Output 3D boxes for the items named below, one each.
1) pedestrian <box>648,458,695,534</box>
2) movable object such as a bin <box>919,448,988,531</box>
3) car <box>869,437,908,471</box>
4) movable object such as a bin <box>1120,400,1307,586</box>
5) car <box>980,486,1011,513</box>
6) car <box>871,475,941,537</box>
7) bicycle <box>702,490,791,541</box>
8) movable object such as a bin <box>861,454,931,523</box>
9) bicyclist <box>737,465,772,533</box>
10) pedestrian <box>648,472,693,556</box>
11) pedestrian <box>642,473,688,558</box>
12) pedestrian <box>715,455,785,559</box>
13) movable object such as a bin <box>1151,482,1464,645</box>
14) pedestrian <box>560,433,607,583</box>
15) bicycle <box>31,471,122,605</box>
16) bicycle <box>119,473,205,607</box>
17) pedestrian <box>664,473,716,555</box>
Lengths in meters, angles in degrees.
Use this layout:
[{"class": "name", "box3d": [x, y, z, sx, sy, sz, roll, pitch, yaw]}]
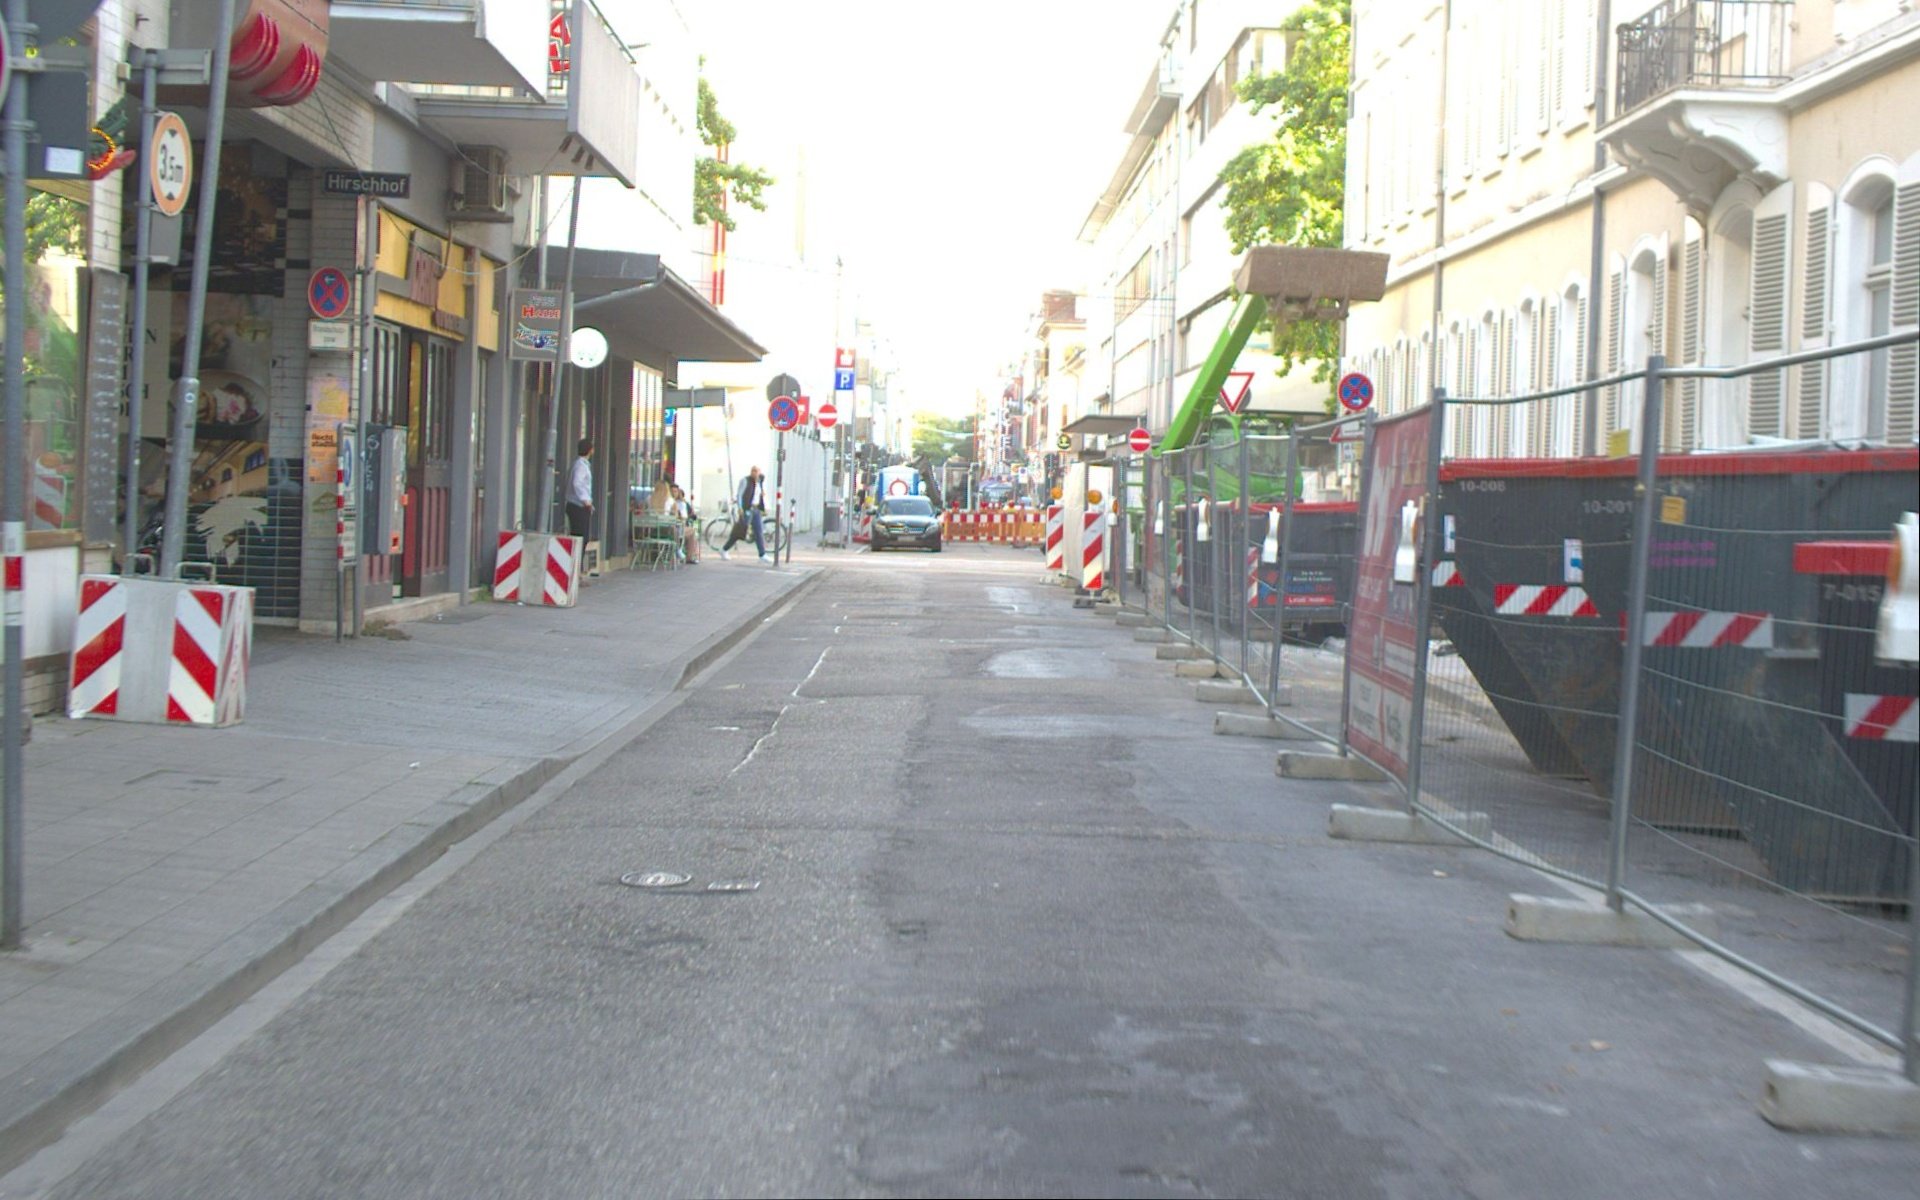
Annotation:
[{"class": "pedestrian", "box3d": [-4.986, -1.801, 59.415, 0.711, 1.271, 0.704, 2, 2, 0]}, {"class": "movable object such as a bin", "box3d": [-0.235, -3.676, 114.452, 2.156, 2.654, 4.573, 2, 2, -1]}, {"class": "car", "box3d": [-3.795, -7.804, 183.965, 1.993, 1.770, 4.001, 1, 2, 0]}, {"class": "movable object such as a bin", "box3d": [4.007, -1.731, 55.211, 2.605, 2.829, 4.450, 1, 2, 0]}, {"class": "car", "box3d": [2.361, -6.693, 228.450, 1.993, 1.770, 4.001, 1, 2, 0]}, {"class": "car", "box3d": [-1.421, -2.442, 89.072, 1.629, 1.545, 3.143, 1, 2, -4]}, {"class": "bicycle", "box3d": [-4.646, -1.843, 74.909, 1.890, 1.034, 0.409, 2, 2, -3]}, {"class": "movable object such as a bin", "box3d": [-1.930, -3.394, 104.524, 1.993, 2.006, 4.000, 1, 2, 0]}, {"class": "bicyclist", "box3d": [-4.472, -2.202, 74.881, 0.724, 1.436, 0.506, 2, 2, -2]}, {"class": "pedestrian", "box3d": [-4.534, -1.356, 53.943, 0.573, 1.271, 0.714, 4, 2, 0]}, {"class": "pedestrian", "box3d": [-4.548, -1.308, 52.996, 0.573, 1.271, 0.714, 4, 2, 0]}, {"class": "pedestrian", "box3d": [-3.783, -1.677, 61.909, 1.071, 1.828, 0.698, 1, 2, -21]}, {"class": "movable object such as a bin", "box3d": [3.979, -0.525, 41.053, 2.735, 1.633, 7.554, 2, 2, -1]}, {"class": "pedestrian", "box3d": [-4.663, -1.141, 42.544, 0.530, 1.828, 0.563, 1, 2, -6]}, {"class": "bicycle", "box3d": [-6.826, -0.494, 26.604, 0.377, 0.957, 1.503, 2, 3, -3]}, {"class": "bicycle", "box3d": [-6.146, -0.479, 26.522, 0.377, 0.957, 1.503, 2, 3, -3]}, {"class": "pedestrian", "box3d": [-4.325, -1.383, 55.108, 0.702, 1.271, 0.714, 4, 2, 0]}]
